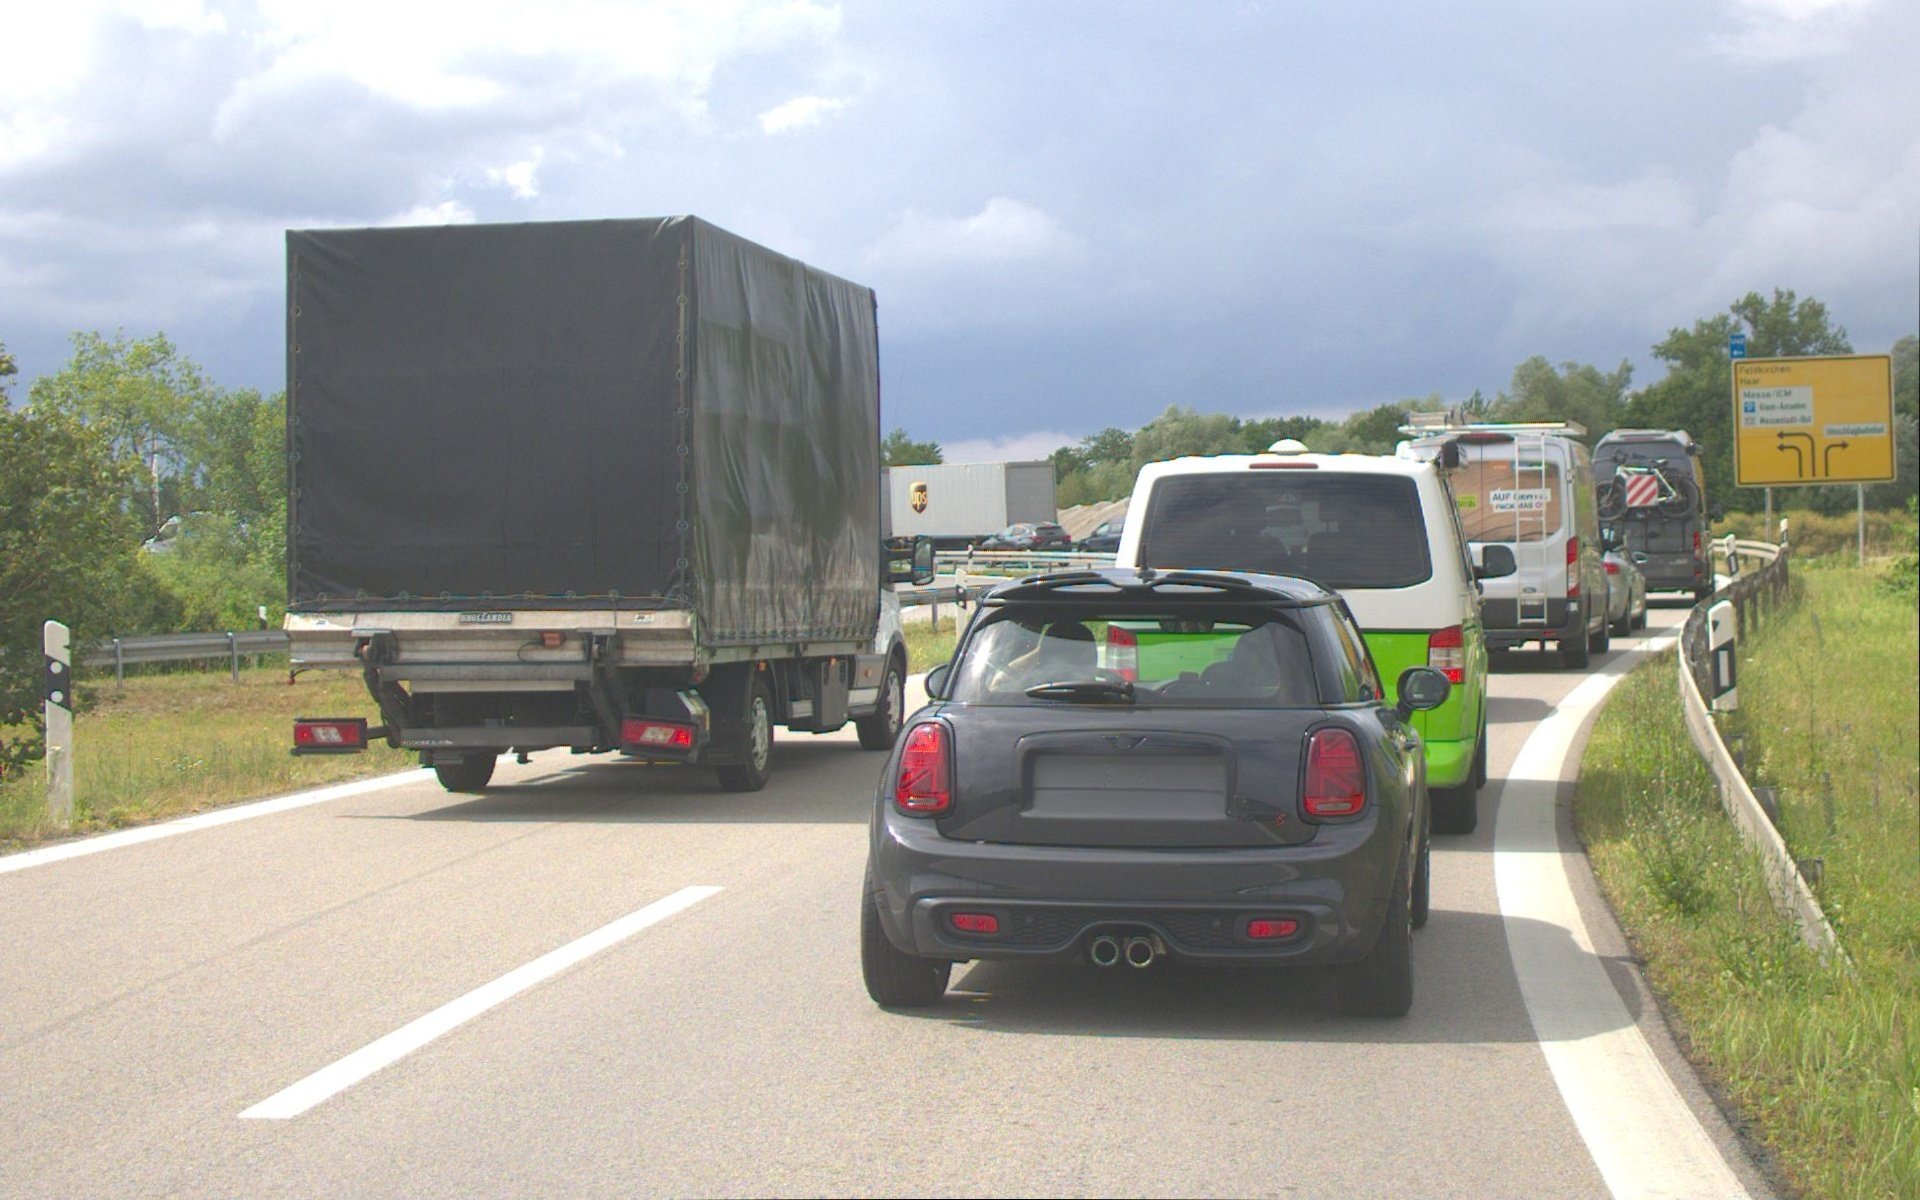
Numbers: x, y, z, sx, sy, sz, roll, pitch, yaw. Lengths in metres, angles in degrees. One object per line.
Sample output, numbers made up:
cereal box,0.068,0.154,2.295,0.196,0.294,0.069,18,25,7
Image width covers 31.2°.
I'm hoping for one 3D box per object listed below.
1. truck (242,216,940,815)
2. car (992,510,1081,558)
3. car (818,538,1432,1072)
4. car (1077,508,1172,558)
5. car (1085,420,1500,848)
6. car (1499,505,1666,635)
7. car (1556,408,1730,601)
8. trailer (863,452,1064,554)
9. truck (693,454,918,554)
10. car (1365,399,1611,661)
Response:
truck,-2.008,-0.482,22.005,2.561,3.157,7.465,1,0,9
car,2.839,-2.450,128.067,1.812,1.750,4.001,1,0,-23
car,0.725,0.561,11.950,1.800,1.541,3.737,0,1,8
car,6.189,-2.507,129.820,1.921,1.831,4.318,1,0,-23
car,1.911,0.132,18.571,1.912,2.038,4.179,0,1,10
car,8.367,-0.395,45.982,1.995,1.636,3.926,1,0,13
car,11.598,-1.533,57.991,2.313,3.058,6.657,1,0,16
trailer,0.076,-3.789,136.131,3.037,3.884,8.770,1,0,-39
truck,-6.477,-3.961,142.677,10.020,3.962,2.839,1,0,40
car,5.810,-0.718,37.283,2.213,2.613,5.531,1,0,13
